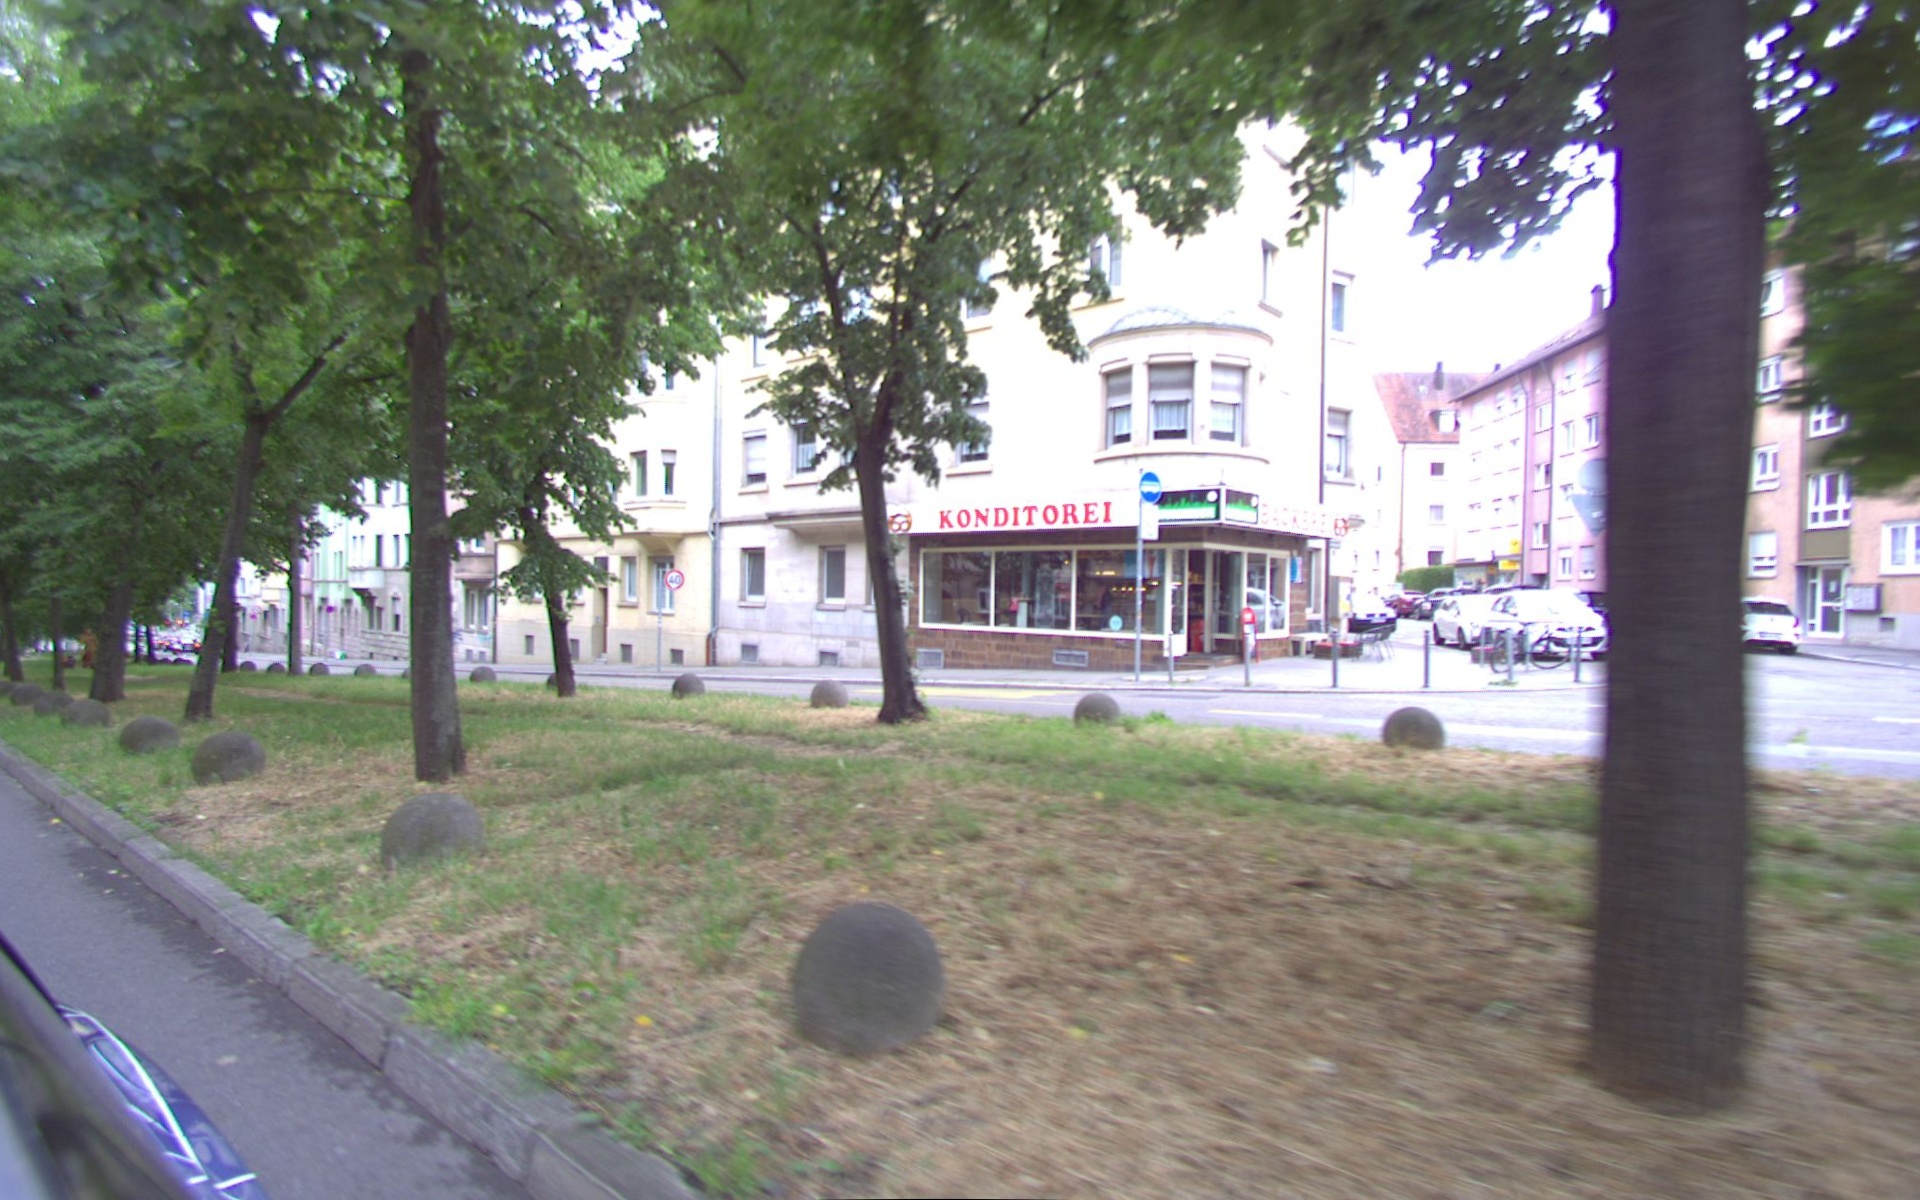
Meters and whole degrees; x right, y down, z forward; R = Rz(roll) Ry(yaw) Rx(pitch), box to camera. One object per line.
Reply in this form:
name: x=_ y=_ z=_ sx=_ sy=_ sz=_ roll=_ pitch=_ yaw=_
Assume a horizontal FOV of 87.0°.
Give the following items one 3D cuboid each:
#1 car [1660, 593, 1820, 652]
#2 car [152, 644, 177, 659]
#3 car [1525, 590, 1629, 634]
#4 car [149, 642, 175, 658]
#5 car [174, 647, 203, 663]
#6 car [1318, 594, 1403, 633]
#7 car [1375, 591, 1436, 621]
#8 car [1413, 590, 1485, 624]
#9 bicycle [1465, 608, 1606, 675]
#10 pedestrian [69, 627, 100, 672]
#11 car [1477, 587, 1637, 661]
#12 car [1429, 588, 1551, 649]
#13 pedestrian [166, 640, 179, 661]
car: x=21.185 y=0.615 z=27.711 sx=1.775 sy=1.490 sz=3.889 roll=0 pitch=-1 yaw=8
car: x=-81.121 y=5.266 z=103.154 sx=1.687 sy=1.393 sz=4.674 roll=2 pitch=-4 yaw=-41
car: x=22.003 y=0.447 z=36.254 sx=1.775 sy=1.490 sz=3.889 roll=0 pitch=-1 yaw=8
car: x=-87.657 y=5.448 z=111.205 sx=1.794 sy=1.649 sz=4.684 roll=3 pitch=-3 yaw=-43
car: x=-68.624 y=4.910 z=90.015 sx=1.737 sy=1.393 sz=4.674 roll=2 pitch=-4 yaw=-41
car: x=15.084 y=0.471 z=38.303 sx=1.753 sy=1.412 sz=3.804 roll=0 pitch=0 yaw=1
car: x=23.330 y=0.318 z=53.104 sx=1.773 sy=1.490 sz=3.893 roll=1 pitch=-1 yaw=5
car: x=22.982 y=0.357 z=47.712 sx=1.773 sy=1.490 sz=3.893 roll=1 pitch=-1 yaw=5
bicycle: x=10.385 y=0.725 z=18.252 sx=2.417 sy=1.054 sz=0.871 roll=-2 pitch=1 yaw=-22
pedestrian: x=-34.906 y=1.958 z=40.355 sx=0.823 sy=1.725 sz=1.124 roll=5 pitch=-3 yaw=-42
car: x=13.289 y=0.525 z=22.811 sx=1.801 sy=1.523 sz=3.756 roll=0 pitch=-1 yaw=9
car: x=14.344 y=0.498 z=27.629 sx=1.801 sy=1.523 sz=3.756 roll=0 pitch=-1 yaw=9
pedestrian: x=-55.266 y=3.563 z=71.037 sx=0.690 sy=1.471 sz=0.705 roll=-1 pitch=-2 yaw=-41
